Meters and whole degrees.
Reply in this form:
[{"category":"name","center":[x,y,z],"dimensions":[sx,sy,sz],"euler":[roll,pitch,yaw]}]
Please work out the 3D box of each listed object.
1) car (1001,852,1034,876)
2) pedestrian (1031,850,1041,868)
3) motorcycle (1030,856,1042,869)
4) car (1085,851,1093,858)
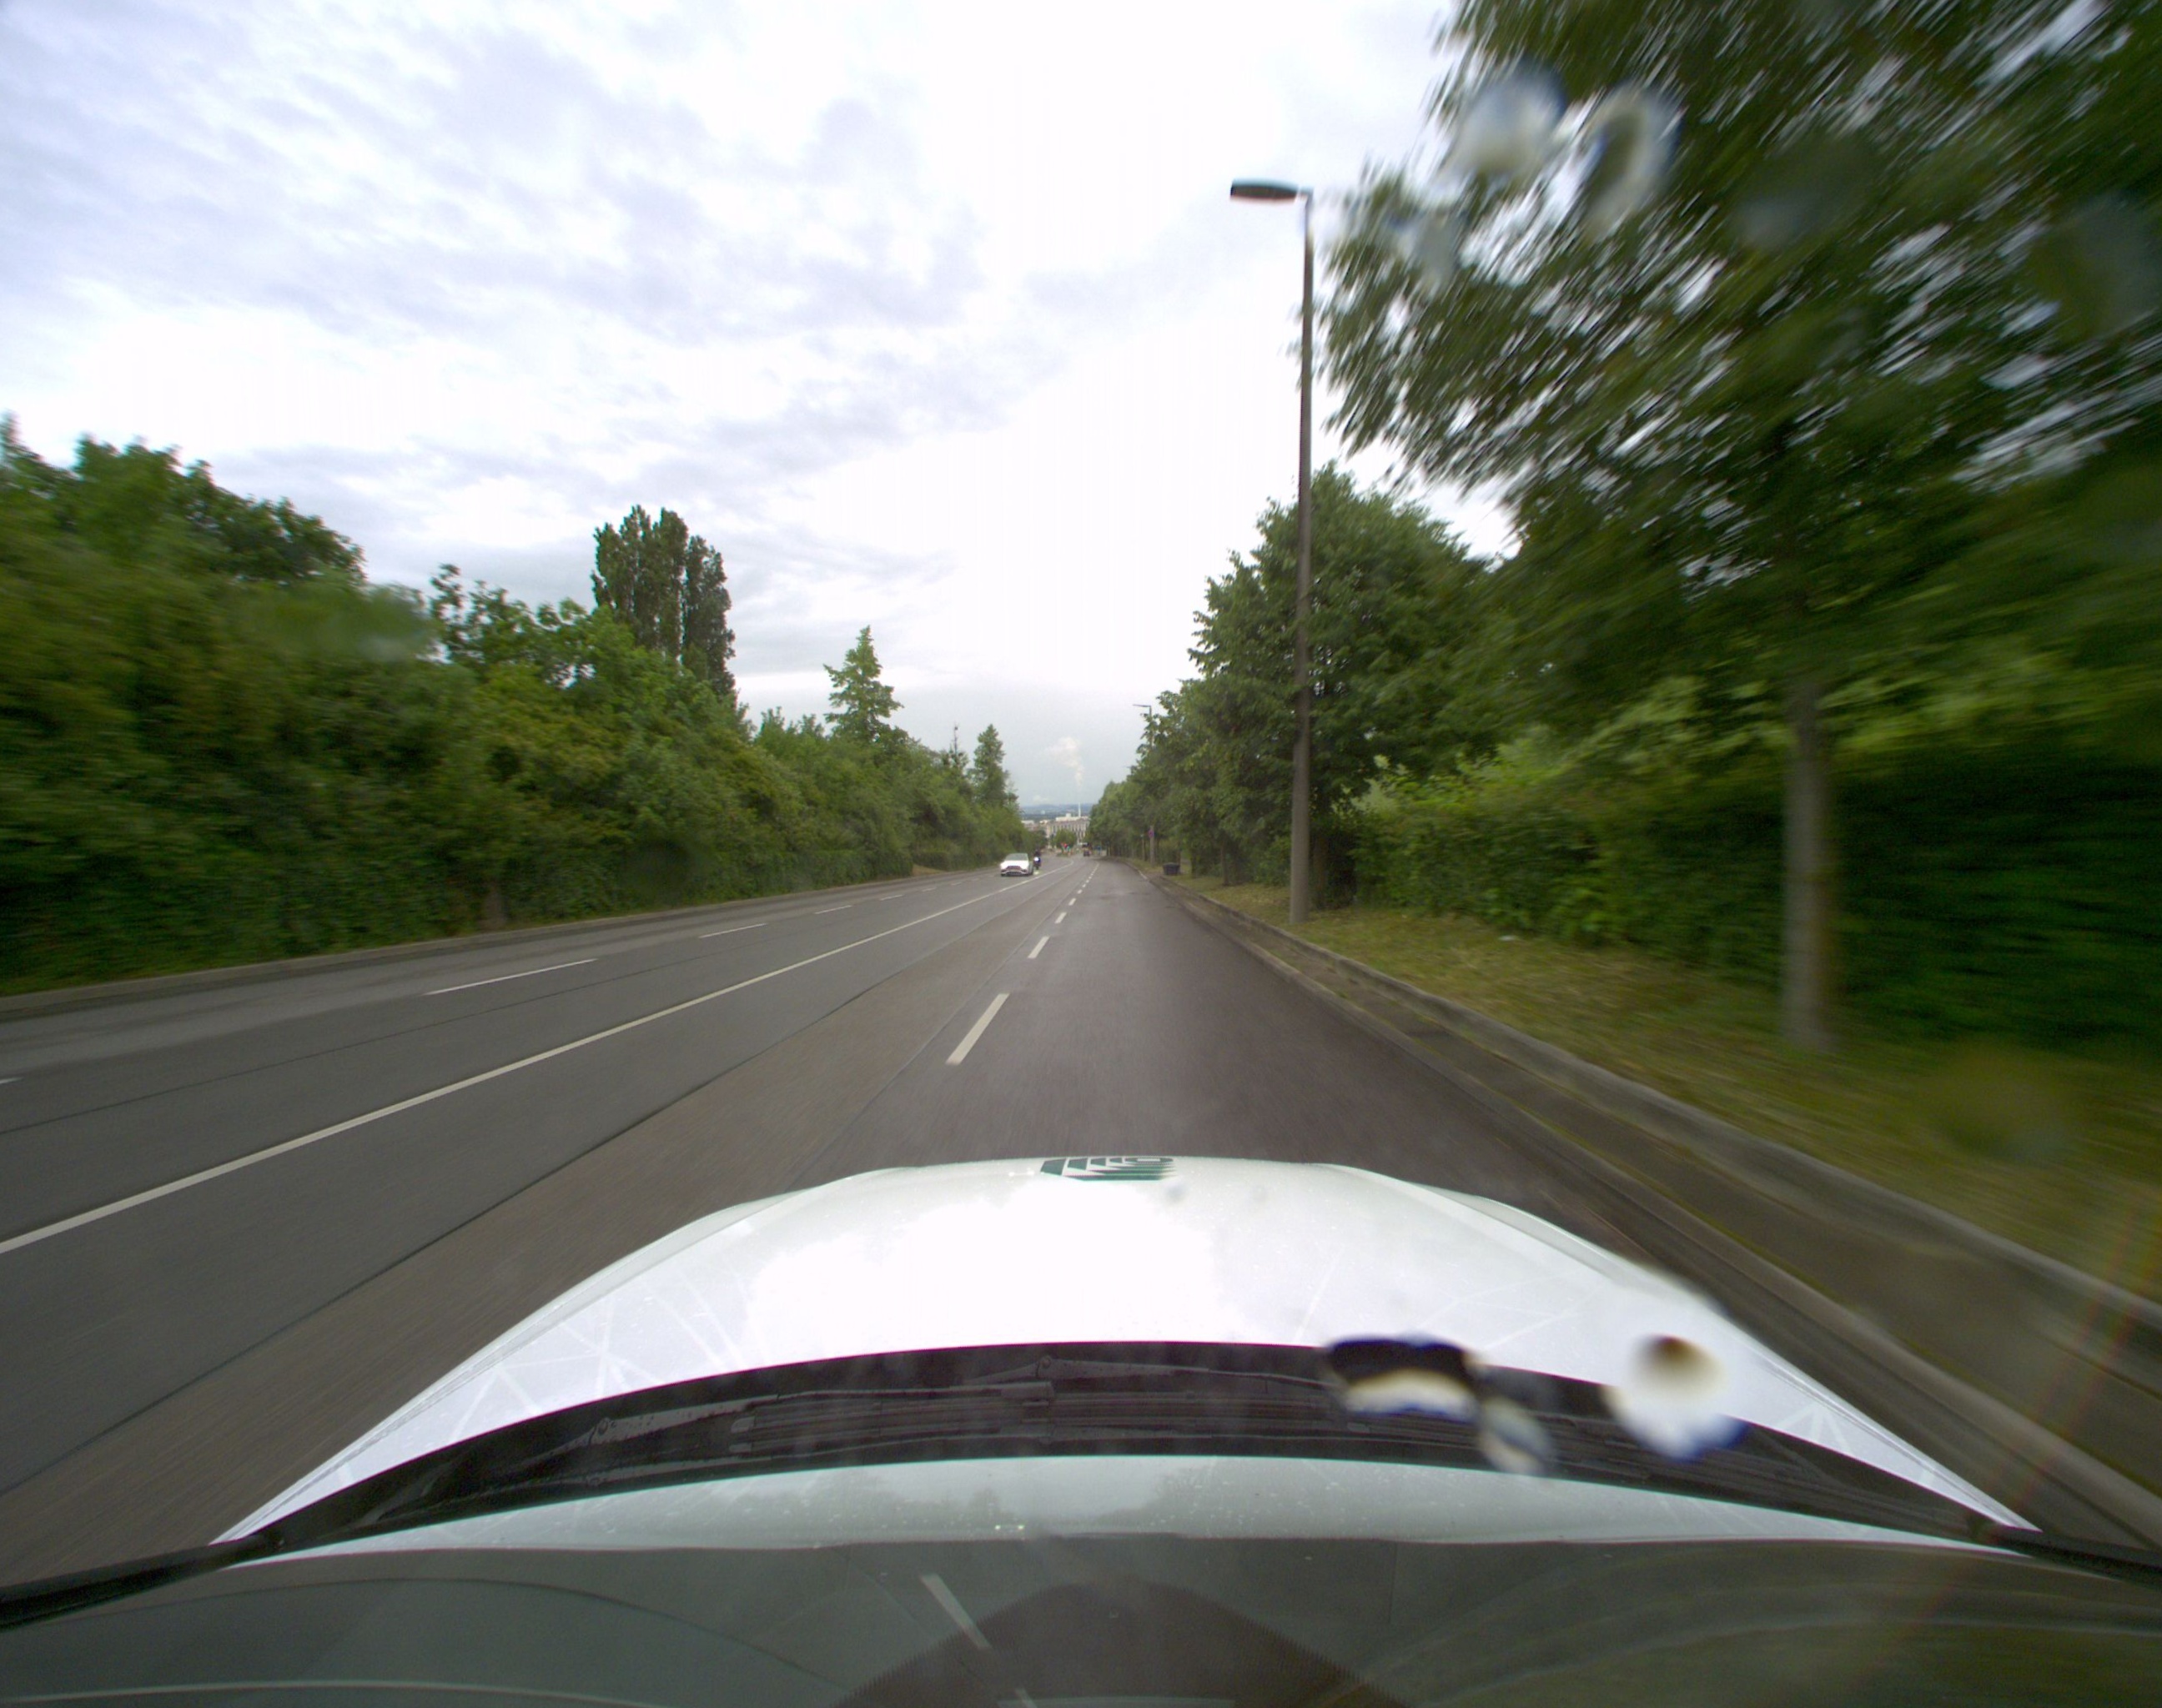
[{"category":"car","center":[-4.174,0.657,54.231],"dimensions":[1.708,1.505,4.519],"euler":[0,0,2]},{"category":"pedestrian","center":[-3.901,0.401,70.870],"dimensions":[0.802,1.541,1.112],"euler":[0,0,2]},{"category":"motorcycle","center":[-3.904,0.747,70.850],"dimensions":[0.802,1.131,2.232],"euler":[0,0,2]},{"category":"car","center":[2.127,0.135,218.250],"dimensions":[1.844,1.702,3.791],"euler":[0,-1,-1]}]
